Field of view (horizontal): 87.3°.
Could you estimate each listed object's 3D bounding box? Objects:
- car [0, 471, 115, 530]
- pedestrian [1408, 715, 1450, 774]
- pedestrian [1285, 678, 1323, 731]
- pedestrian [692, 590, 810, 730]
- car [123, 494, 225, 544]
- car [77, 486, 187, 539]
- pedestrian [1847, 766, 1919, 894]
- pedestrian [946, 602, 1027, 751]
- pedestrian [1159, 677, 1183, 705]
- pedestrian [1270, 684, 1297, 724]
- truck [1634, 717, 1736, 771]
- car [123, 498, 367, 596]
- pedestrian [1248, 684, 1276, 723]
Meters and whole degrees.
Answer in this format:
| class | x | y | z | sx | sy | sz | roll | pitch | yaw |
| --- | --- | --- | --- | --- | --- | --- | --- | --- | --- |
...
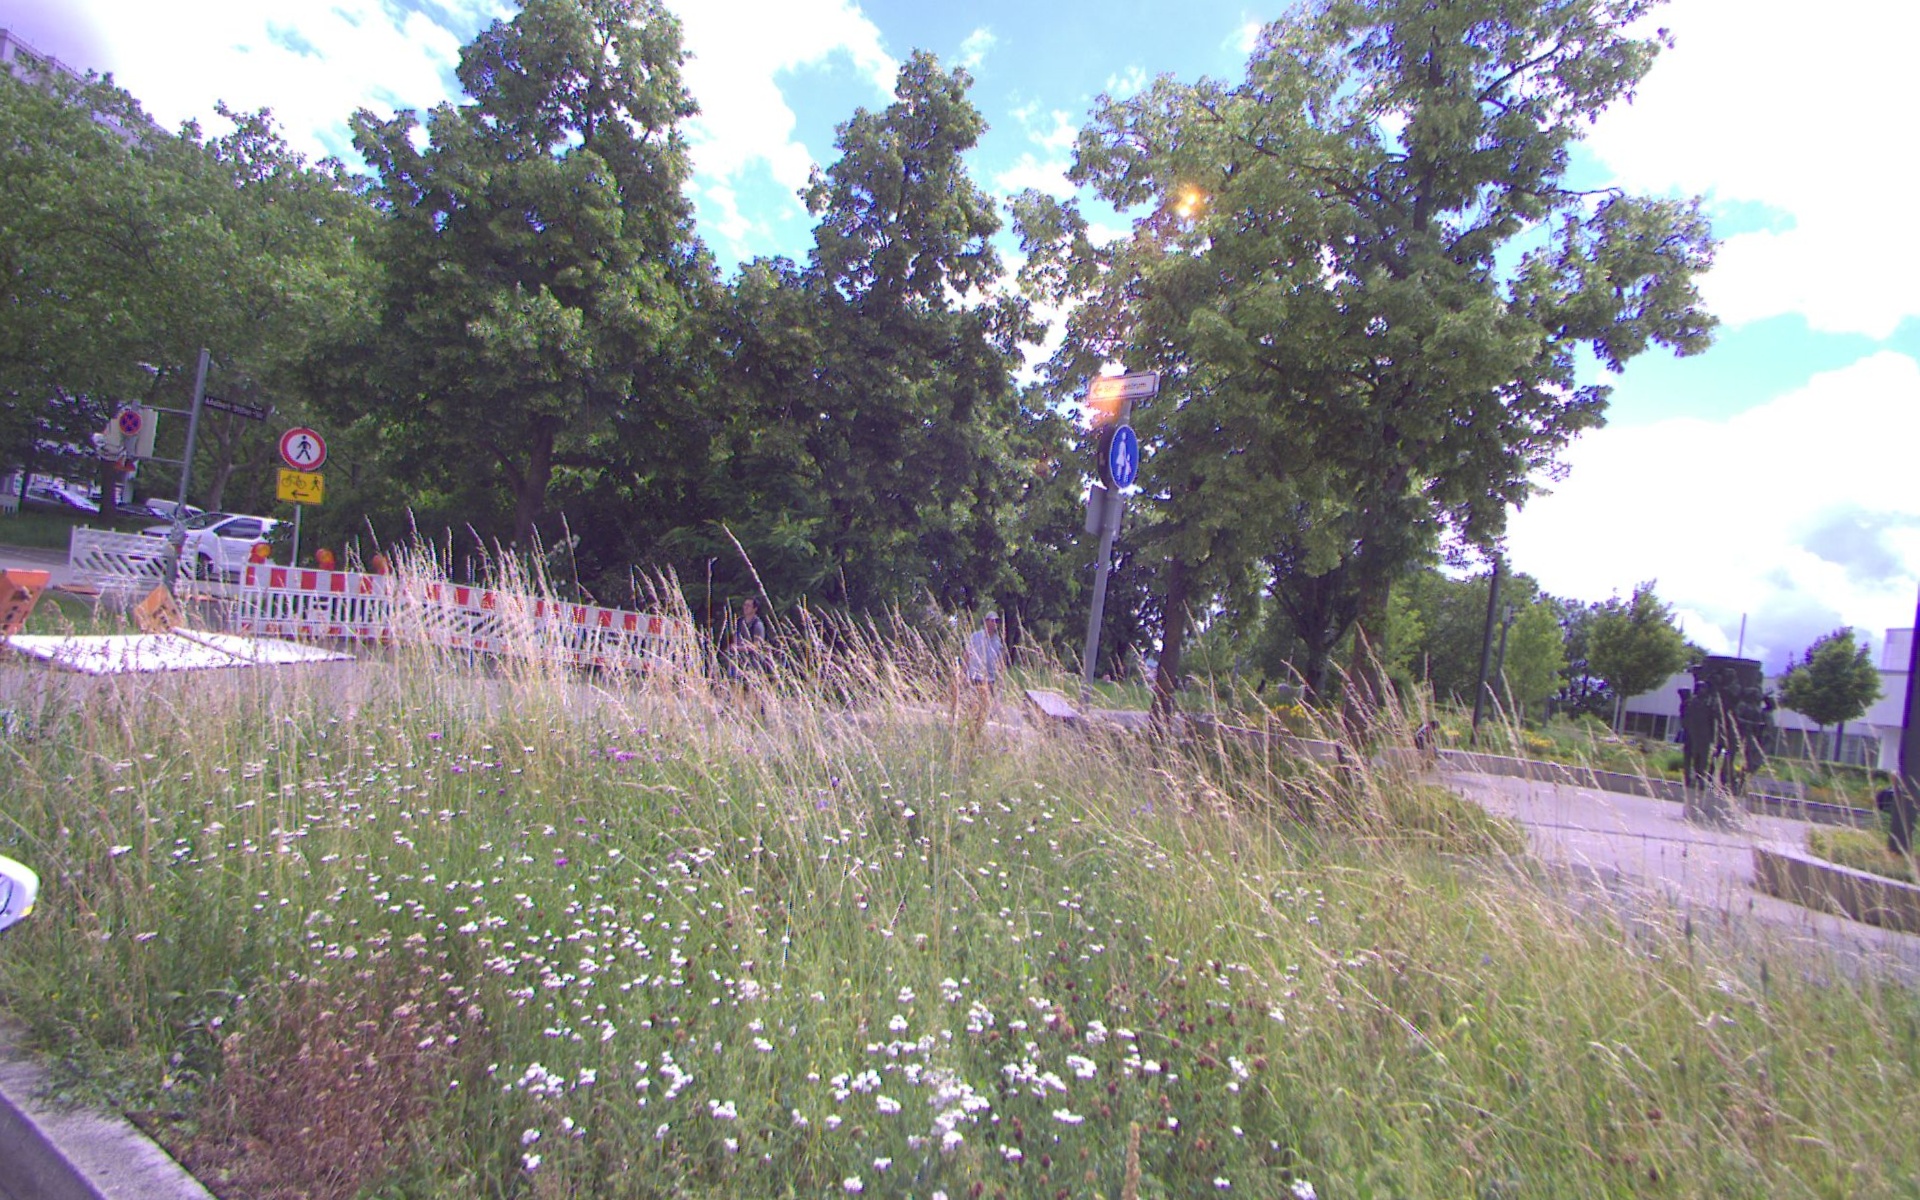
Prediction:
| class | x | y | z | sx | sy | sz | roll | pitch | yaw |
| --- | --- | --- | --- | --- | --- | --- | --- | --- | --- |
| car | -43.693 | -4.777 | 48.565 | 3.926 | 2.037 | 2.001 | 8 | -1 | 0 |
| pedestrian | 10.787 | 3.308 | 23.135 | 0.623 | 1.236 | 0.618 | 7 | -1 | 36 |
| pedestrian | 14.582 | 4.424 | 42.615 | 1.137 | 2.037 | 0.817 | 8 | 0 | 30 |
| pedestrian | -2.580 | 0.747 | 12.457 | 0.831 | 1.570 | 0.945 | 7 | -1 | 41 |
| car | -44.241 | -4.528 | 56.684 | 3.926 | 2.037 | 2.001 | 8 | -1 | 0 |
| car | -43.786 | -4.601 | 53.281 | 3.926 | 2.037 | 2.001 | 8 | -1 | 0 |
| pedestrian | 13.435 | 3.285 | 14.472 | 0.767 | 1.644 | 0.756 | 8 | -1 | -40 |
| pedestrian | 0.347 | 1.013 | 13.578 | 0.759 | 1.862 | 0.764 | 8 | -1 | -7 |
| pedestrian | 13.167 | 5.659 | 62.861 | 1.135 | 1.571 | 0.818 | 8 | -1 | -2 |
| pedestrian | 15.220 | 4.873 | 47.308 | 0.879 | 1.732 | 0.817 | 8 | -1 | 30 |
| truck | 37.320 | 7.393 | 51.913 | 1.965 | 2.037 | 3.999 | 8 | -1 | -4 |
| car | -19.716 | -1.387 | 28.044 | 1.915 | 1.895 | 5.090 | 7 | -2 | 28 |
| pedestrian | 14.345 | 4.921 | 47.767 | 0.872 | 1.681 | 0.817 | 8 | -1 | 30 |
